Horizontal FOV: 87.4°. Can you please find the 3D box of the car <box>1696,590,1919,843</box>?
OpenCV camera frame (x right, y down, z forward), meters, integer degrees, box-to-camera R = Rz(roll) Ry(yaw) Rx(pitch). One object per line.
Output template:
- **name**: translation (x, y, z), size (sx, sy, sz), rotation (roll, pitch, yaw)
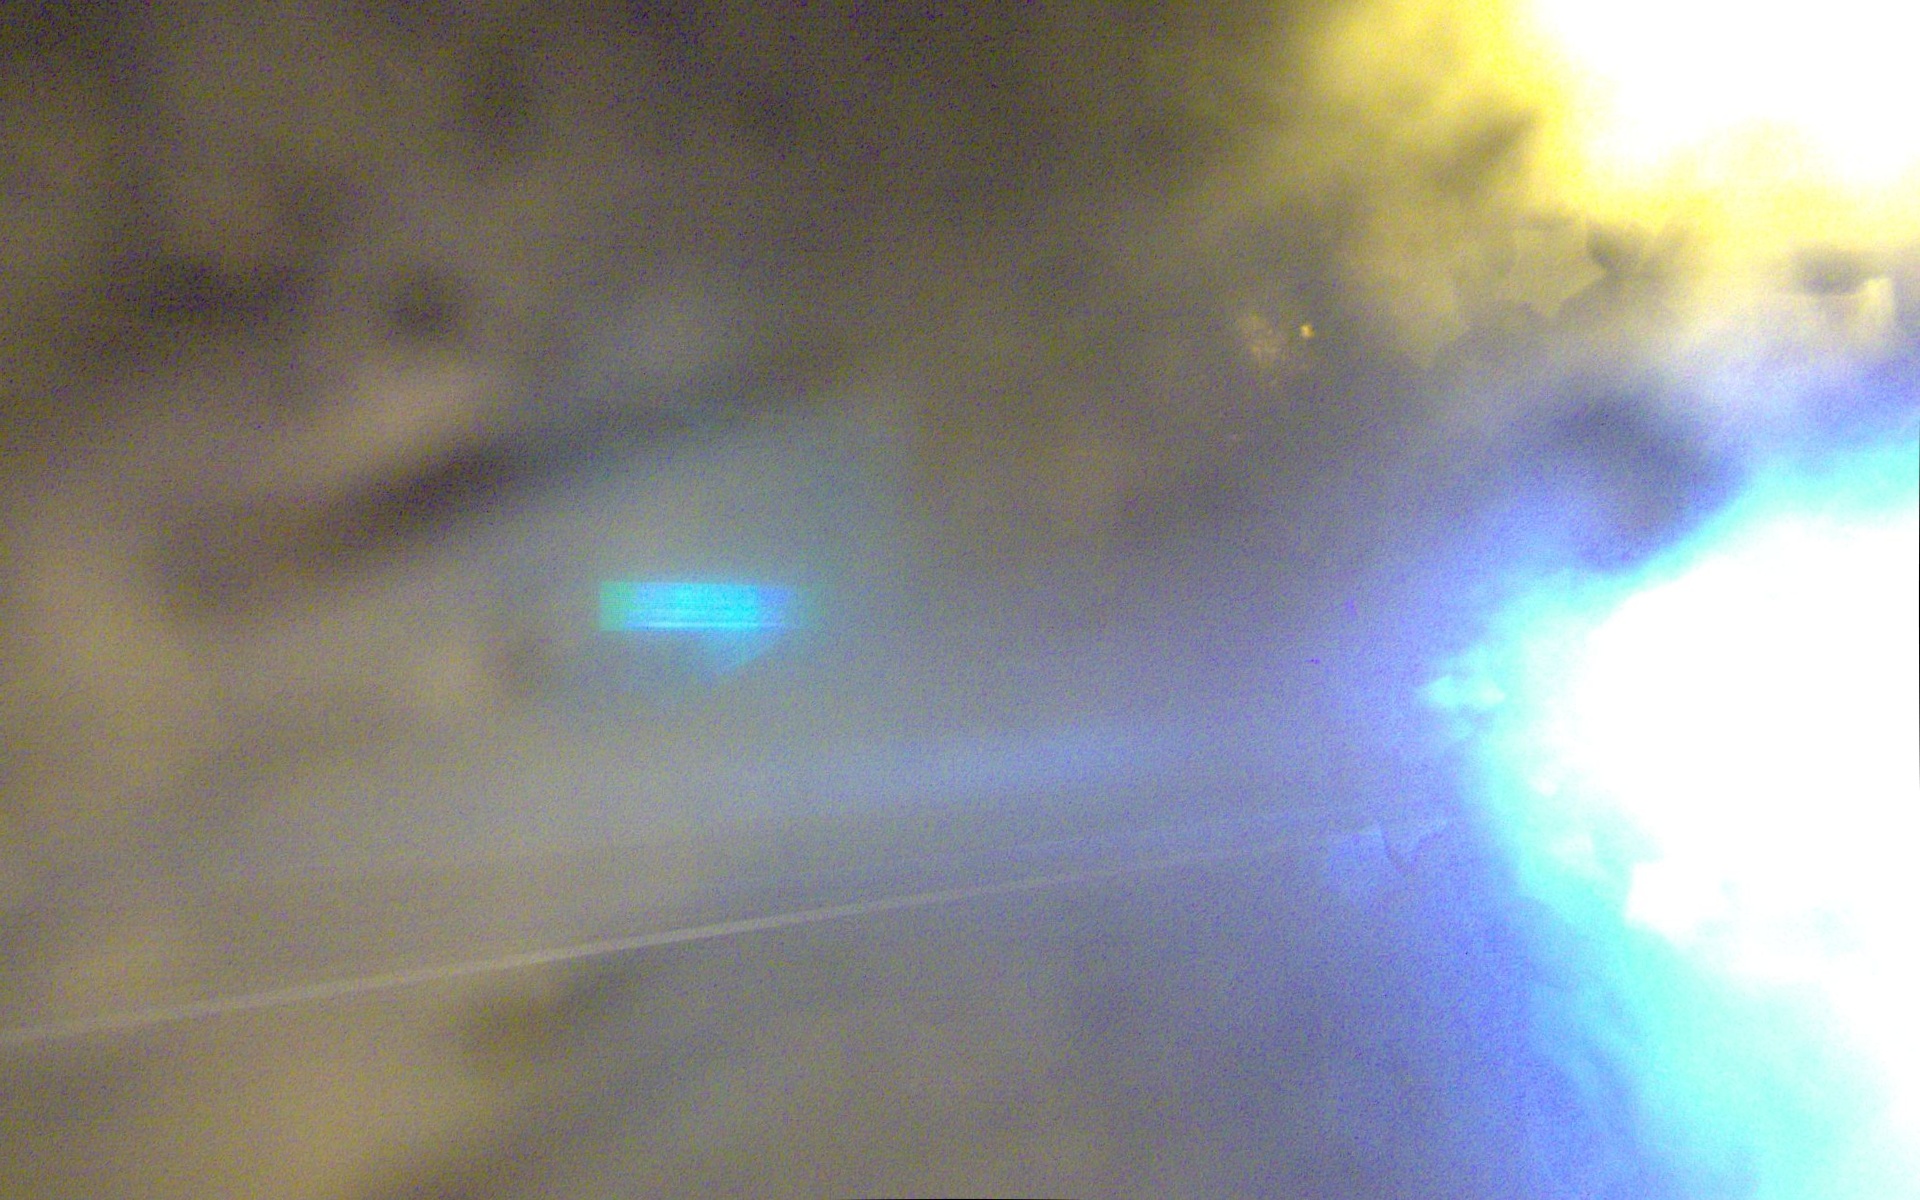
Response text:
- **car**: translation (7.821, 0.809, 8.016), size (4.097, 1.649, 1.627), rotation (2, 0, -30)
